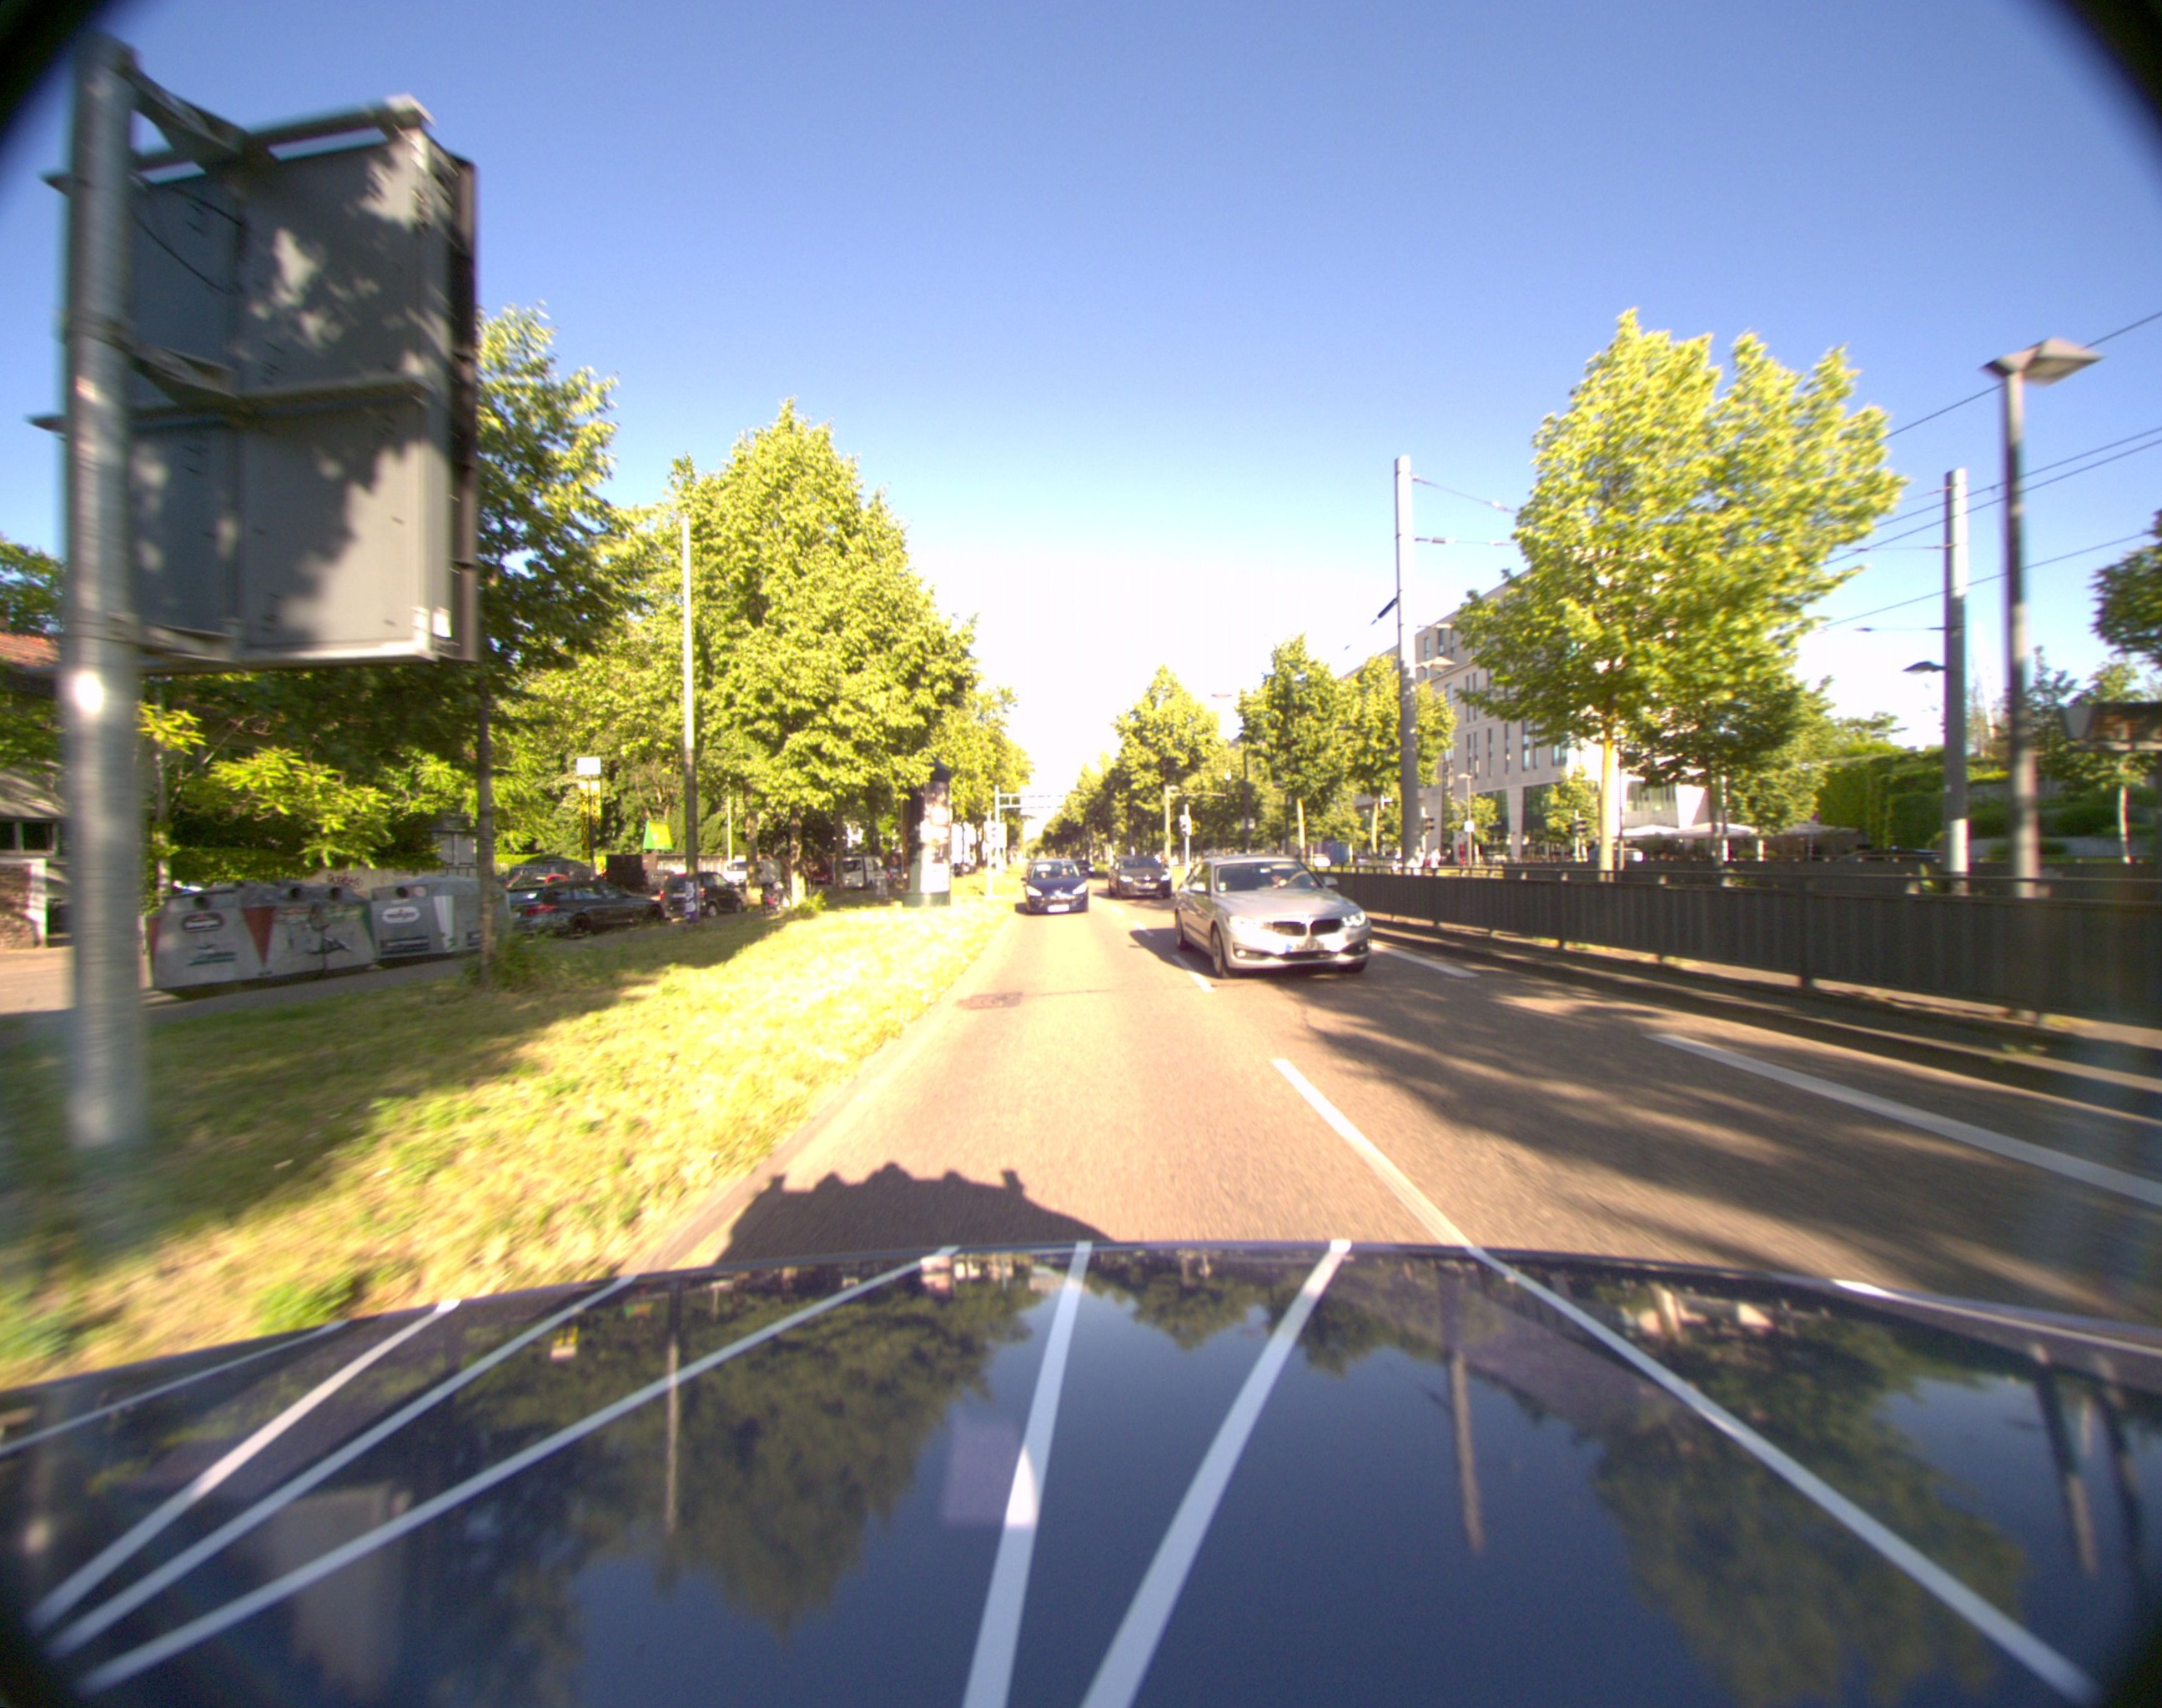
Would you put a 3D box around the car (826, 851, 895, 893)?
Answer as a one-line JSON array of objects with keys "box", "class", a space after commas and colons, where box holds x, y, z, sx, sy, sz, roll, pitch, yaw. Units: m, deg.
[{"box": [-11.887, 0.903, 41.376, 2.196, 2.002, 5.818, -3, 1, -2], "class": "car"}]

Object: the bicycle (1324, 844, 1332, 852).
[{"box": [31.699, -0.762, 97.531, 0.380, 1.011, 1.799, -3, 1, -2], "class": "bicycle"}]

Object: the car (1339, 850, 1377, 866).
[{"box": [27.387, 0.337, 75.359, 1.963, 1.433, 4.263, -3, 1, -3], "class": "car"}]

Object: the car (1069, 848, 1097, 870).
[{"box": [0.124, 0.387, 58.754, 1.783, 1.571, 3.782, -3, 1, -4], "class": "car"}]

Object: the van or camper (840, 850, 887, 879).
[{"box": [-20.816, 0.977, 73.075, 2.563, 2.668, 6.565, 1, 0, 1], "class": "van or camper"}]

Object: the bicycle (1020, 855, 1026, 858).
[{"box": [-18.493, 0.885, 240.905, 1.928, 0.899, 0.647, -1, 0, -1], "class": "bicycle"}]

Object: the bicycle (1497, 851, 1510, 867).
[{"box": [35.552, 0.392, 63.892, 0.588, 1.245, 1.842, -2, 1, 18], "class": "bicycle"}]

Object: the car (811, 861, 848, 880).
[{"box": [-20.719, 1.341, 62.669, 1.694, 1.463, 3.758, 1, 1, 2], "class": "car"}]

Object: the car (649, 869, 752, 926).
[{"box": [-11.733, 1.296, 23.624, 1.666, 1.492, 2.988, -3, 1, -1], "class": "car"}]

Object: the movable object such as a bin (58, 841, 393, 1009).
[{"box": [-11.628, 0.875, 10.543, 2.086, 2.002, 2.136, -3, 1, 0], "class": "movable object such as a bin"}]

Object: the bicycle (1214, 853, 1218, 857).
[{"box": [28.752, 0.189, 161.911, 0.581, 0.947, 1.847, -3, 1, -2], "class": "bicycle"}]

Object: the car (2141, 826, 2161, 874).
[{"box": [31.248, -0.121, 19.382, 1.918, 1.317, 4.609, -3, 1, -3], "class": "car"}]

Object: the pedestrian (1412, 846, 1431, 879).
[{"box": [15.595, 0.387, 34.802, 0.551, 1.509, 0.588, -3, 1, 1], "class": "pedestrian"}]

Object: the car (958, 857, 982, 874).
[{"box": [-11.491, 1.187, 78.765, 1.798, 1.551, 4.019, -4, 1, -1], "class": "car"}]

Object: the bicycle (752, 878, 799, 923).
[{"box": [-8.128, 1.201, 20.261, 0.494, 1.040, 1.903, -3, 1, -2], "class": "bicycle"}]

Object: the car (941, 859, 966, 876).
[{"box": [-12.091, 1.293, 72.137, 1.798, 1.429, 3.883, -3, 1, -2], "class": "car"}]

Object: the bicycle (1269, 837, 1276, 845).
[{"box": [31.244, -2.178, 124.128, 0.600, 1.273, 1.607, -3, 1, -6], "class": "bicycle"}]

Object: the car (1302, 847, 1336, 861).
[{"box": [27.010, 0.006, 86.427, 1.999, 1.433, 4.453, -3, 1, -6], "class": "car"}]

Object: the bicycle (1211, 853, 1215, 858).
[{"box": [28.633, 0.259, 164.628, 0.619, 0.983, 1.848, -3, 1, 1], "class": "bicycle"}]

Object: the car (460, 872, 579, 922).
[{"box": [-21.103, 1.576, 28.736, 1.999, 1.598, 3.478, 2, 0, -4], "class": "car"}]

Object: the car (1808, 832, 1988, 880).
[{"box": [31.373, 0.041, 29.434, 1.884, 1.611, 4.609, -3, 1, -3], "class": "car"}]

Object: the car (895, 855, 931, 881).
[{"box": [-12.027, 0.980, 54.729, 1.741, 1.632, 4.351, -3, 1, -2], "class": "car"}]

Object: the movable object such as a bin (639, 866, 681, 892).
[{"box": [-24.324, 1.443, 43.885, 1.649, 1.461, 1.485, 1, 1, -5], "class": "movable object such as a bin"}]

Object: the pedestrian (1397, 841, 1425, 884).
[{"box": [14.444, 0.363, 33.240, 0.823, 1.825, 0.726, -3, 1, -6], "class": "pedestrian"}]

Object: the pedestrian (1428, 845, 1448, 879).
[{"box": [16.017, 0.371, 34.103, 0.544, 1.488, 0.603, -3, 1, 0], "class": "pedestrian"}]

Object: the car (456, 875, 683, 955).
[{"box": [-11.796, 1.329, 18.048, 2.004, 1.376, 4.744, -3, 1, 2], "class": "car"}]

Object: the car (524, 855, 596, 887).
[{"box": [-35.264, 1.113, 51.563, 1.998, 2.002, 4.000, -3, 1, 2], "class": "car"}]

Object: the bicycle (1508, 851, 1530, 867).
[{"box": [35.665, 0.393, 61.845, 0.589, 1.245, 1.839, -3, 1, -4], "class": "bicycle"}]

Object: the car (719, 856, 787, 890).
[{"box": [-21.081, 1.192, 49.068, 2.092, 2.002, 4.942, -2, 0, 1], "class": "car"}]

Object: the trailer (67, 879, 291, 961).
[{"box": [-21.421, 1.501, 18.226, 1.735, 1.631, 3.022, 1, 1, 0], "class": "trailer"}]

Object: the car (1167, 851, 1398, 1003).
[{"box": [2.477, 0.796, 10.533, 1.887, 1.569, 4.276, -3, 1, -2], "class": "car"}]

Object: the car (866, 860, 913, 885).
[{"box": [-11.971, 1.130, 47.685, 1.999, 1.282, 4.051, -3, 1, -2], "class": "car"}]

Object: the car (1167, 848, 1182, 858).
[{"box": [15.533, -0.150, 126.568, 1.999, 1.562, 4.166, -1, 0, -1], "class": "car"}]

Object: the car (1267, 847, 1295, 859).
[{"box": [25.772, -0.119, 97.985, 1.999, 1.433, 4.453, -3, 1, -6], "class": "car"}]

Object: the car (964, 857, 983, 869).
[{"box": [-16.053, 1.280, 113.386, 2.002, 1.630, 3.993, -3, 1, -21], "class": "car"}]

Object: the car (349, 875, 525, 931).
[{"box": [-20.717, 1.515, 24.742, 1.998, 1.474, 4.324, 0, 1, 0], "class": "car"}]

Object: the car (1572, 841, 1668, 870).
[{"box": [29.674, 0.074, 42.056, 1.884, 1.426, 4.609, -2, 0, -3], "class": "car"}]

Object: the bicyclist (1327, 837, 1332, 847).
[{"box": [31.676, -1.564, 96.978, 0.369, 1.296, 0.719, -3, 1, -2], "class": "bicyclist"}]

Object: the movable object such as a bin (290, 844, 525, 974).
[{"box": [-11.633, 0.880, 13.311, 2.086, 2.002, 2.136, -3, 1, 0], "class": "movable object such as a bin"}]

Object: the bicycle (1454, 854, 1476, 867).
[{"box": [35.180, 0.581, 69.586, 0.735, 1.191, 2.239, -3, 1, -5], "class": "bicycle"}]

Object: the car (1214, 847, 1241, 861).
[{"box": [16.715, 0.006, 86.895, 1.999, 1.477, 3.997, -3, 1, -6], "class": "car"}]

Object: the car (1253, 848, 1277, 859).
[{"box": [25.125, -0.051, 103.928, 1.999, 1.433, 4.454, -3, 1, -2], "class": "car"}]

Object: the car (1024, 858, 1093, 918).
[{"box": [-0.694, 0.913, 22.164, 1.767, 1.462, 3.998, -3, 1, -3], "class": "car"}]

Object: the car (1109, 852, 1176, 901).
[{"box": [2.109, 0.744, 27.153, 1.951, 1.514, 3.999, -2, 1, -2], "class": "car"}]
